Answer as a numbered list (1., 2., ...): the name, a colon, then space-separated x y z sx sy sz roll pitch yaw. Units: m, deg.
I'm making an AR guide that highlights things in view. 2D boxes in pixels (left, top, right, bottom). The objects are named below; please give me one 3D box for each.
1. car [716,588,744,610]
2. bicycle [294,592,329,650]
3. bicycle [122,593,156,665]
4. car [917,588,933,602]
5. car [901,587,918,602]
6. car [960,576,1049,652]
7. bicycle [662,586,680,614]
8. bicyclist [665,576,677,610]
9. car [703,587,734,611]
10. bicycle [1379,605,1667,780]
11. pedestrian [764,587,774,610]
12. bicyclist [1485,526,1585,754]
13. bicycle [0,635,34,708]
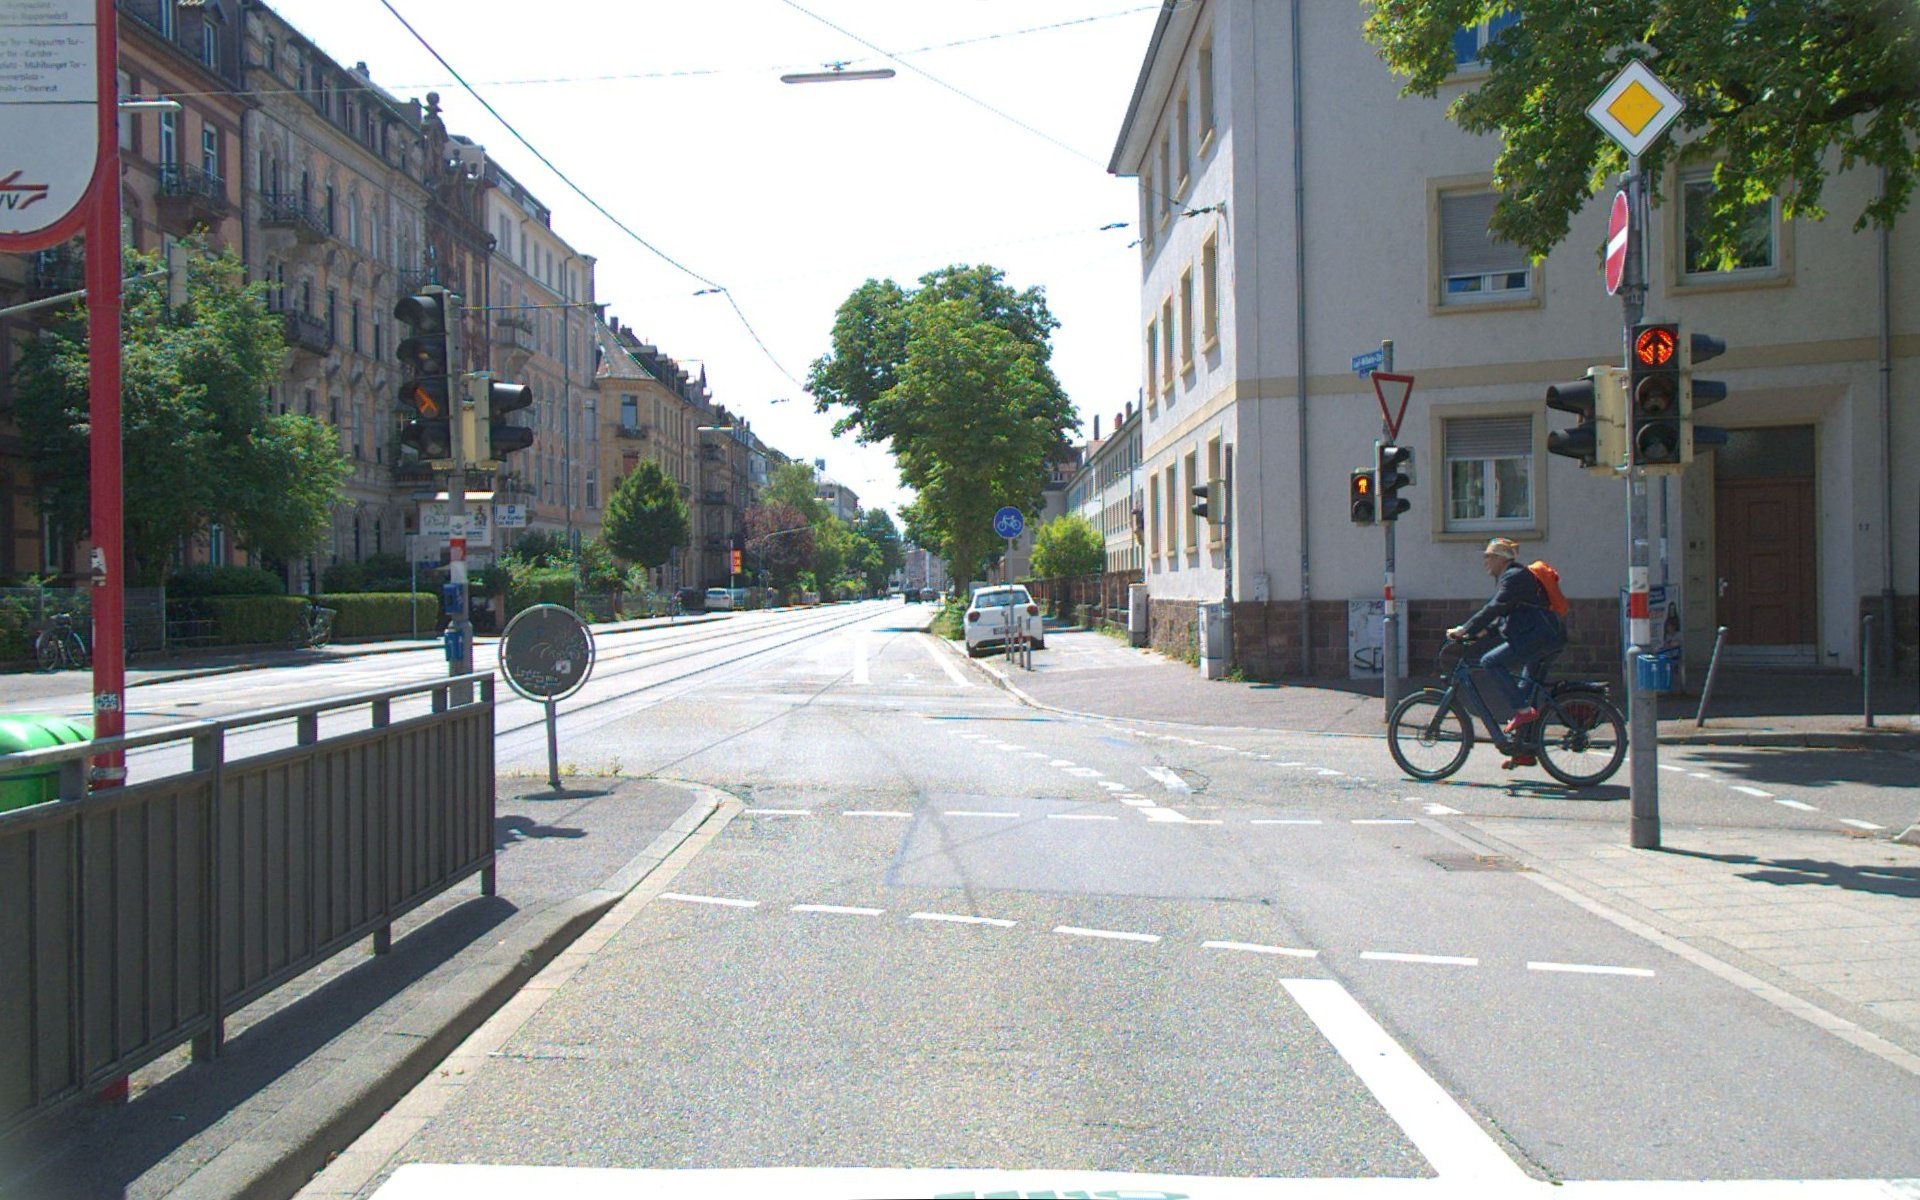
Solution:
1. car: -17.179 -0.099 123.646 1.596 1.498 3.562 -4 0 -3
2. bicycle: -15.901 0.489 40.532 0.584 1.380 2.419 0 0 -27
3. bicycle: -16.749 0.580 33.737 0.607 1.420 2.288 0 0 -27
4. car: -3.950 -0.547 185.758 1.712 1.498 3.937 -4 0 -1
5. car: -4.952 -0.522 162.632 1.494 1.469 3.364 -2 0 0
6. car: 0.949 0.307 37.202 1.712 1.498 3.937 -4 0 -1
7. bicycle: -15.312 0.000 87.691 0.565 1.412 2.500 0 0 -1
8. bicyclist: -15.314 -0.352 87.596 0.531 1.794 0.498 0 0 -1
9. car: -16.815 -0.047 115.353 1.651 1.498 3.936 -4 0 -3
10. bicycle: 4.276 0.667 12.597 2.039 1.258 0.580 0 0 24
11. pedestrian: -14.380 -0.113 124.327 0.664 1.758 0.677 0 0 -1
12. bicyclist: 4.369 0.295 12.558 0.679 1.675 0.580 0 0 23
13. bicycle: -14.160 1.051 23.816 1.391 1.031 0.383 -1 1 -41
